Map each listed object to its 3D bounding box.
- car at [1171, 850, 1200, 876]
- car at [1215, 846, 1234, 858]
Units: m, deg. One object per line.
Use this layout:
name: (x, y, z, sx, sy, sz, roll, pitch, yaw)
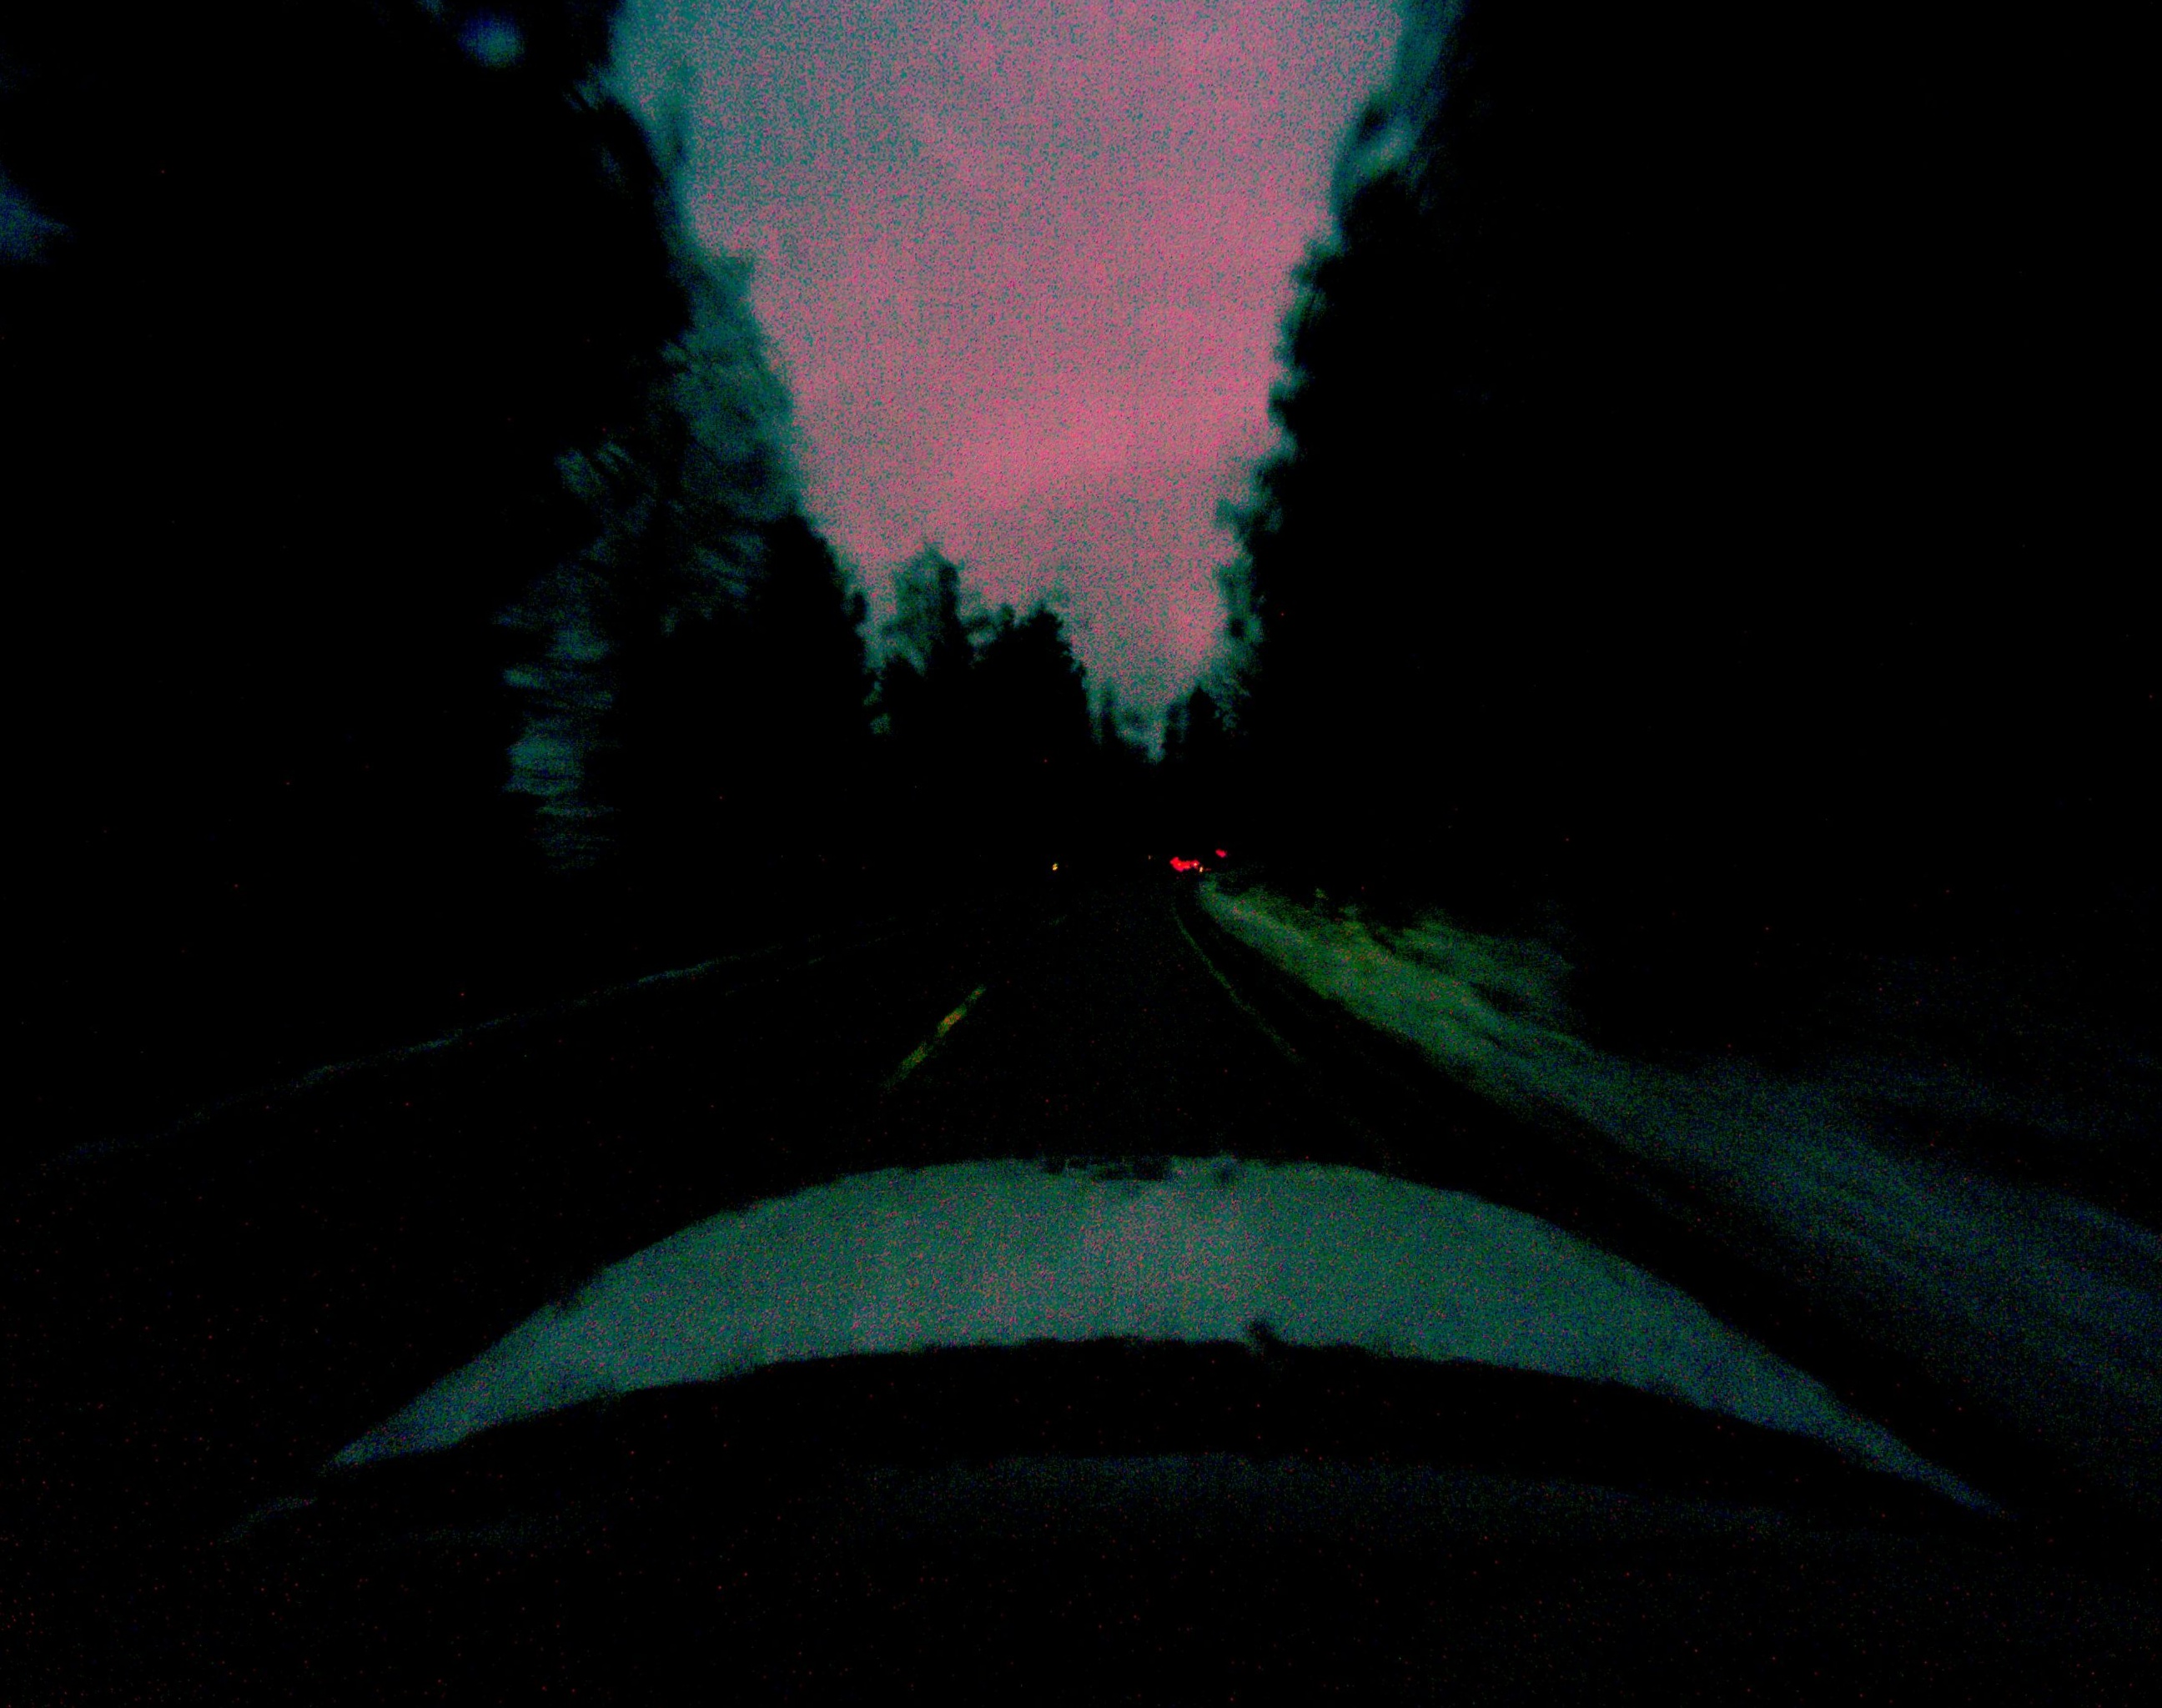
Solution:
car: (8.306, 0.705, 64.548, 1.981, 1.872, 4.012, -4, 0, 10)
car: (17.428, -0.312, 99.298, 1.983, 1.310, 4.008, -4, 0, 7)
